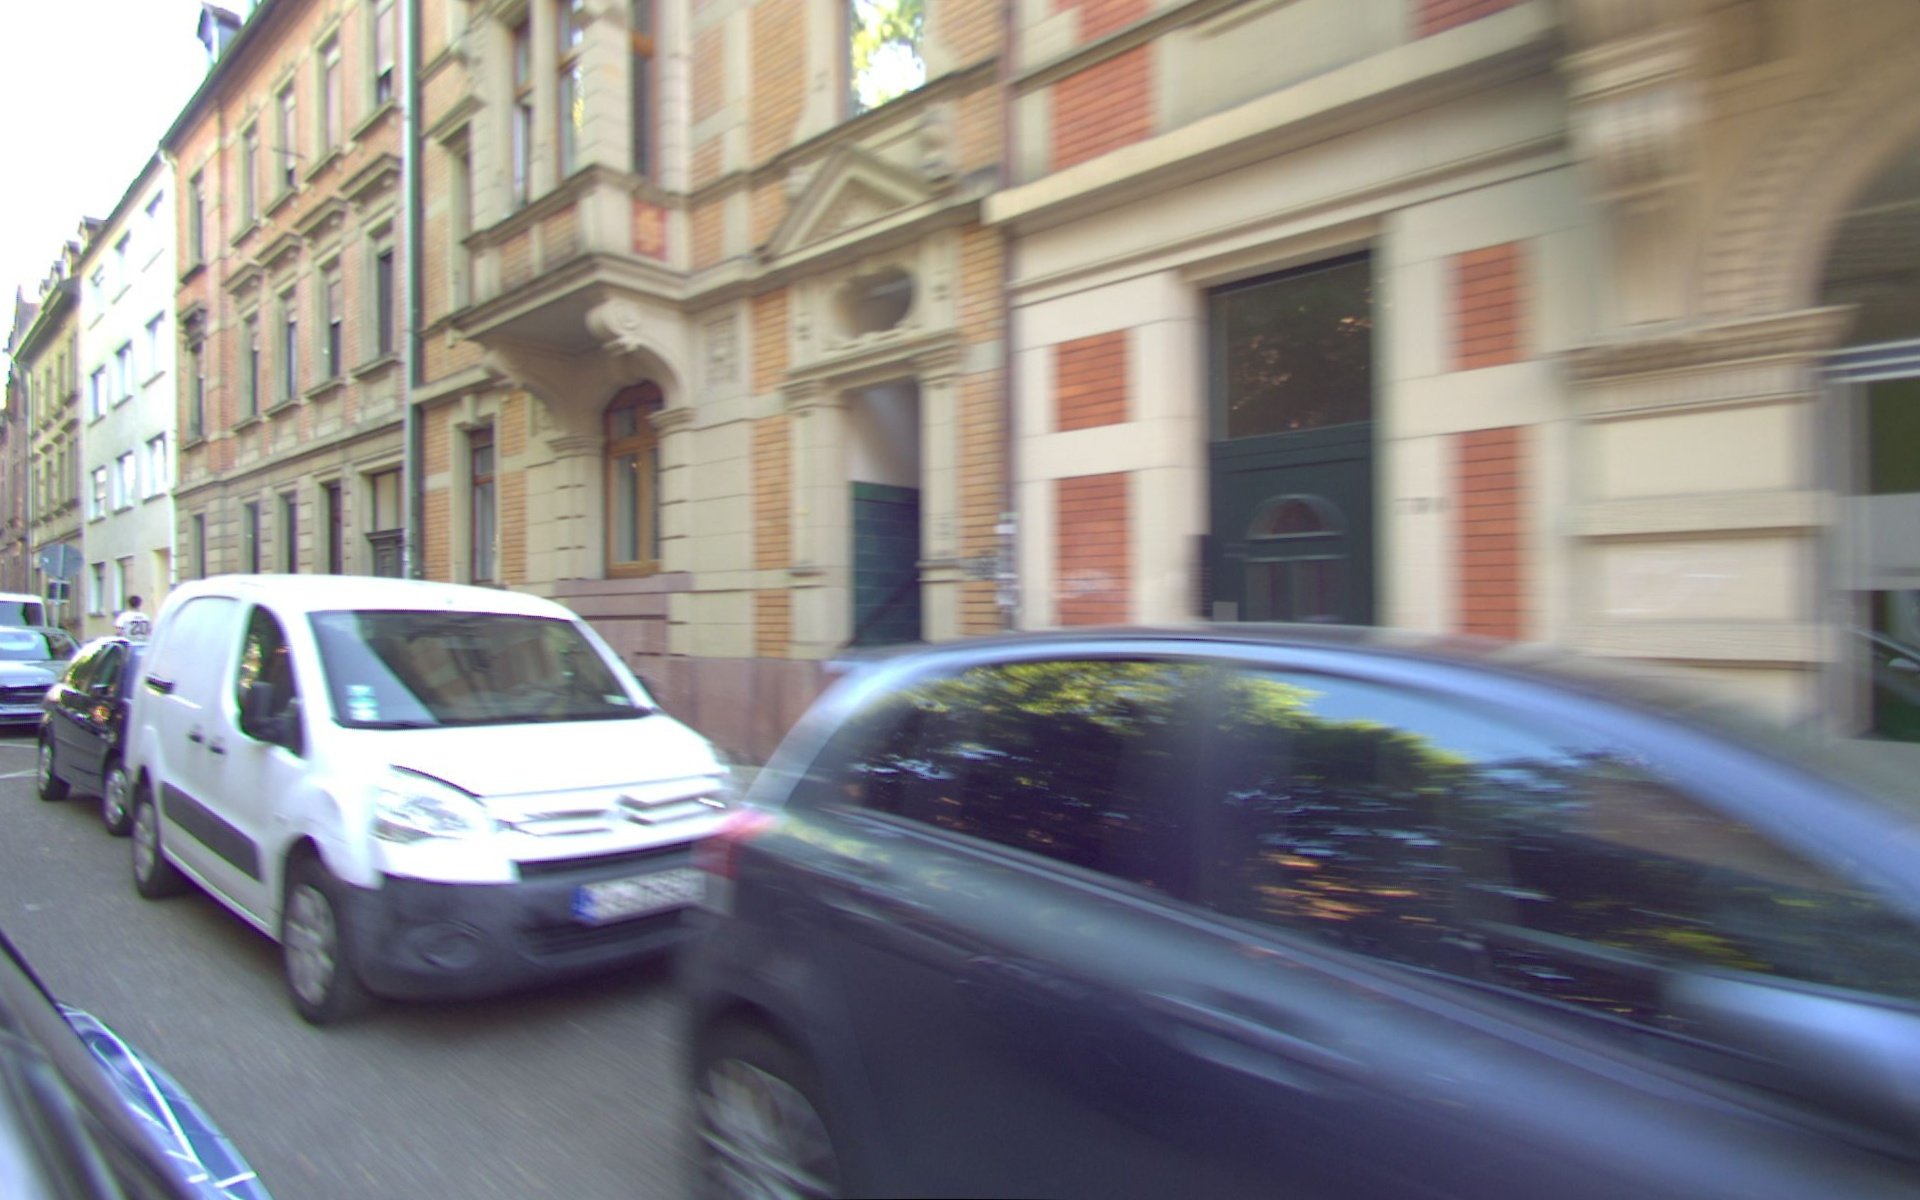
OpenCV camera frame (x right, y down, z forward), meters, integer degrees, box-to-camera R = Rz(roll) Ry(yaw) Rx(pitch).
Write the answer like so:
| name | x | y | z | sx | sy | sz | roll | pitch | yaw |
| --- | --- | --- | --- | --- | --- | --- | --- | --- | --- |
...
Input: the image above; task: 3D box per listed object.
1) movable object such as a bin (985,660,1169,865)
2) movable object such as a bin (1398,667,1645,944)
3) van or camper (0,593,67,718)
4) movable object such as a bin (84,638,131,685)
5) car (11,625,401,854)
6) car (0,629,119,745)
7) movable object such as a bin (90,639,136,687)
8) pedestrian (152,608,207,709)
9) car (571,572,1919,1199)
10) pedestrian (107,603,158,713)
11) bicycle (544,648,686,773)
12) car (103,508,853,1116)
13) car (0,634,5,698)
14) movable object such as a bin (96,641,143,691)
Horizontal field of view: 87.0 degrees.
| name | x | y | z | sx | sy | sz | roll | pitch | yaw |
| --- | --- | --- | --- | --- | --- | --- | --- | --- | --- |
| movable object such as a bin | 0.689 | 0.910 | 6.009 | 0.856 | 1.049 | 0.631 | -1 | 1 | 41 |
| movable object such as a bin | 2.556 | 0.867 | 4.614 | 0.856 | 1.049 | 0.631 | -1 | 1 | 41 |
| van or camper | -18.720 | 1.004 | 19.135 | 5.153 | 2.164 | 2.153 | -2 | -4 | 43 |
| movable object such as a bin | -21.088 | 1.509 | 25.040 | 0.675 | 1.096 | 0.827 | 0 | -1 | 44 |
| car | -6.565 | 1.006 | 8.673 | 3.968 | 1.526 | 1.676 | -1 | -3 | 38 |
| car | -14.015 | 1.206 | 14.932 | 4.190 | 1.526 | 1.748 | -2 | -3 | 40 |
| movable object such as a bin | -20.476 | 1.520 | 24.467 | 0.666 | 1.096 | 0.791 | 0 | -1 | 45 |
| pedestrian | -14.266 | 1.046 | 18.502 | 0.649 | 1.785 | 0.694 | 0 | 0 | 41 |
| car | 1.096 | 0.763 | 1.851 | 3.970 | 1.492 | 1.675 | -2 | -3 | 41 |
| pedestrian | -14.717 | 0.998 | 17.996 | 0.904 | 1.897 | 0.573 | 0 | 0 | 41 |
| bicycle | -3.330 | 1.019 | 9.716 | 1.545 | 1.049 | 0.565 | -1 | 1 | 41 |
| car | -2.789 | 0.716 | 5.260 | 4.569 | 1.825 | 1.812 | -2 | -3 | 41 |
| car | -23.435 | 1.484 | 23.331 | 4.315 | 1.413 | 1.712 | -2 | -4 | 43 |
| movable object such as a bin | -19.850 | 1.546 | 23.890 | 0.666 | 1.096 | 0.791 | 0 | -1 | 45 |
